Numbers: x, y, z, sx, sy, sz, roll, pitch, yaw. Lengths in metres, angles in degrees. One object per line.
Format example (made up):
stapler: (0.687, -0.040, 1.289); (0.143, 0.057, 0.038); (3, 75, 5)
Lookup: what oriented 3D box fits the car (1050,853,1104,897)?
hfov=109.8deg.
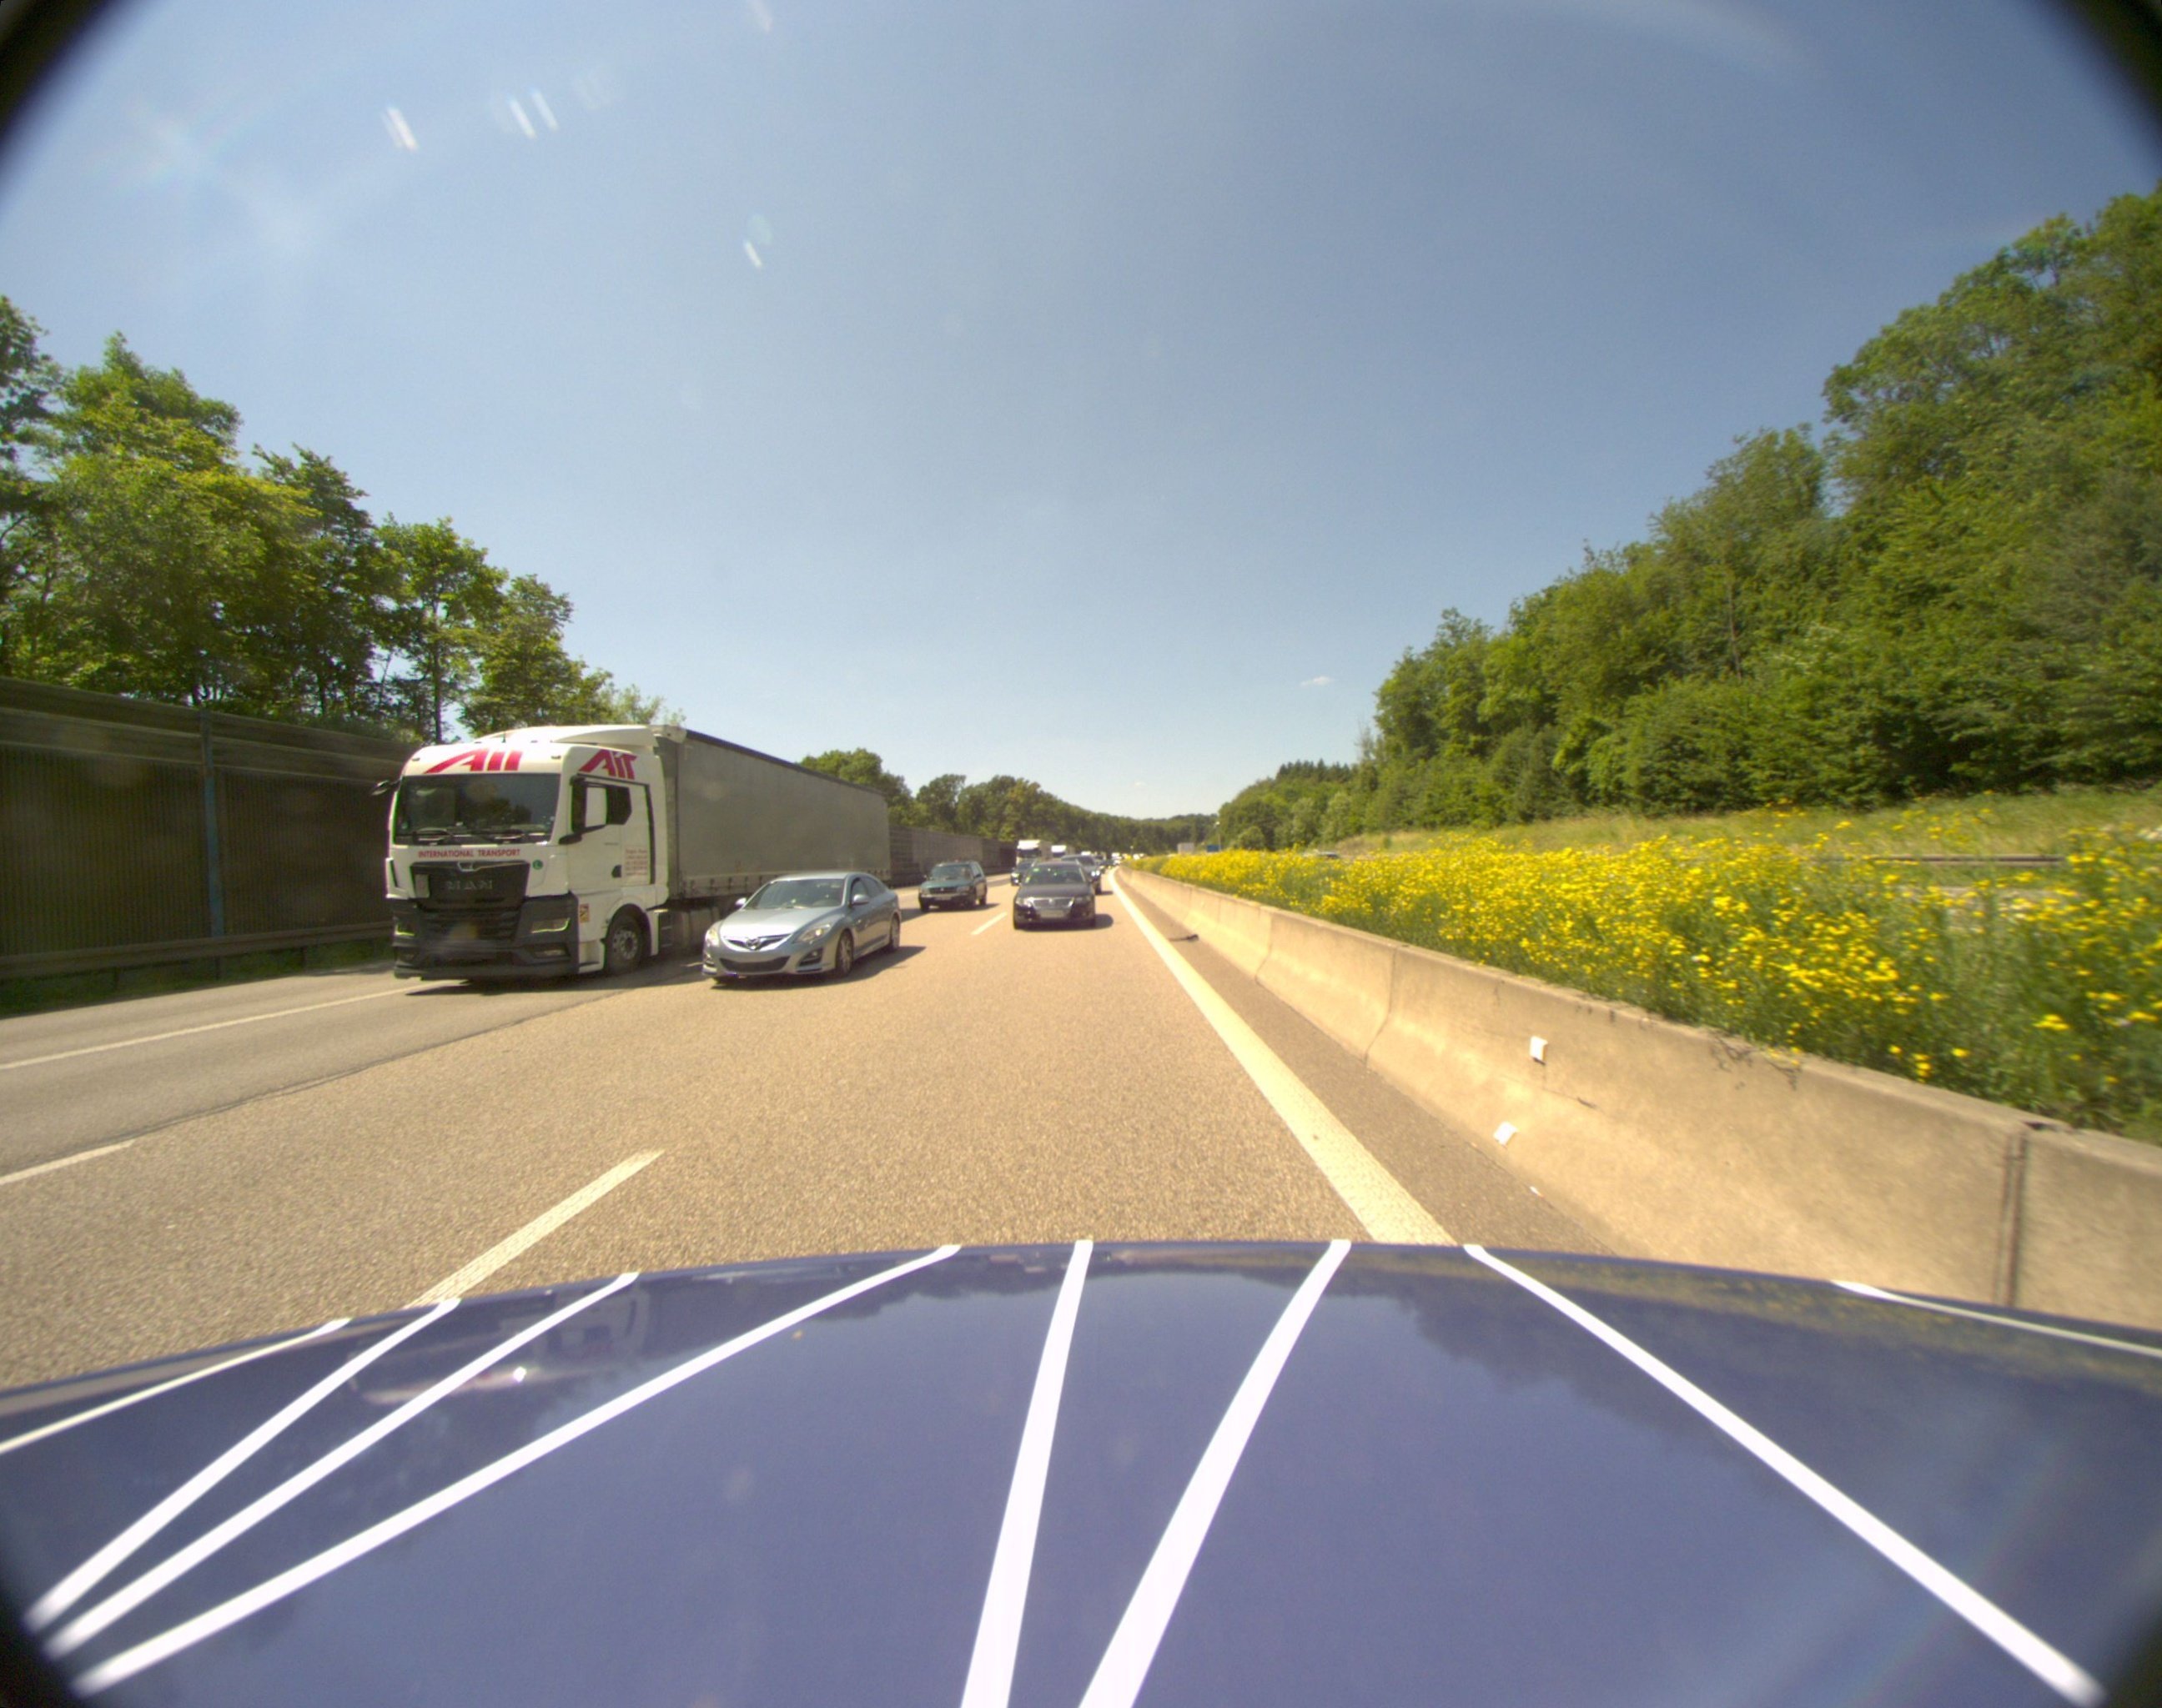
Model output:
car: (-0.094, 0.817, 31.296); (1.998, 1.641, 4.000); (-2, 0, 2)

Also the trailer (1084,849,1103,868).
trailer: (3.270, 1.152, 192.517); (2.852, 4.391, 13.036); (-3, 0, 8)

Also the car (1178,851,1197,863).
car: (14.675, 0.450, 104.870); (1.998, 1.563, 4.065); (-2, 0, 1)

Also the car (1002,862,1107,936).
car: (-0.477, 0.941, 17.534); (1.907, 1.410, 4.002); (-3, 0, 5)

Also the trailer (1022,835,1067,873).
trailer: (-4.326, 0.004, 93.809); (2.820, 4.190, 13.473); (-3, 0, 8)

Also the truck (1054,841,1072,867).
truck: (-2.985, -0.032, 127.403); (2.545, 4.149, 4.746); (-3, 0, 2)

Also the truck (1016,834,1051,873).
truck: (-5.342, -0.005, 86.518); (2.810, 4.190, 5.425); (-3, 0, 8)

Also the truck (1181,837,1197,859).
truck: (21.251, -1.114, 148.743); (2.834, 3.915, 13.754); (-2, 0, 9)

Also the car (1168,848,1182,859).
car: (15.974, -0.037, 129.935); (1.889, 1.745, 4.277); (-2, 0, 1)

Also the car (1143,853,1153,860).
car: (14.075, 0.504, 159.910); (1.942, 1.494, 4.660); (-2, 0, 5)

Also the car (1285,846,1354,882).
car: (10.920, 0.427, 35.129); (1.844, 1.513, 4.357); (-2, 0, 1)

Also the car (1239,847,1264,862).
car: (20.919, 0.050, 93.406); (1.998, 1.682, 4.767); (-2, 0, 1)

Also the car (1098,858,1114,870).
car: (3.835, 1.523, 116.263); (1.997, 1.641, 4.002); (-2, 0, 7)

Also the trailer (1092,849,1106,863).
trailer: (5.424, 0.655, 223.407); (3.154, 4.061, 6.187); (-3, 0, 9)

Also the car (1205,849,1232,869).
car: (12.932, 0.436, 71.525); (1.741, 1.723, 4.148); (-2, 0, 0)

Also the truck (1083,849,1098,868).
truck: (2.464, 1.118, 187.407); (2.852, 4.381, 5.243); (-3, 0, 8)

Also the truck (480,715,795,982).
truck: (-7.938, -0.087, 14.606); (2.605, 4.066, 5.552); (-2, 0, 0)

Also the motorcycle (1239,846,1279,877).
motorcycle: (7.323, 0.300, 31.428); (1.043, 1.208, 2.613); (-2, 0, 1)

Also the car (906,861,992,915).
car: (-4.218, 1.045, 24.933); (1.907, 1.550, 4.001); (-3, 0, 2)

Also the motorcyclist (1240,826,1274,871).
motorcyclist: (7.289, -0.232, 31.519); (1.034, 1.775, 1.284); (-2, 0, 1)

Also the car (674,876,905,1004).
car: (-4.083, 1.119, 11.473); (1.861, 1.426, 4.176); (-3, 0, -1)

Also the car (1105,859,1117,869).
car: (5.733, 1.892, 145.124); (1.997, 1.641, 4.002); (-2, 0, 7)

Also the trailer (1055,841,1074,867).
trailer: (-2.826, 0.006, 132.206); (2.542, 4.149, 10.178); (-3, 0, 2)

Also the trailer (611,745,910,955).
trailer: (-7.880, -0.093, 21.864); (2.605, 4.066, 13.591); (-2, 0, 0)

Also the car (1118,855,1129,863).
car: (9.306, 1.192, 166.777); (1.997, 1.641, 4.002); (-2, 0, 7)

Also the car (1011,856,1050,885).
car: (-3.169, 1.007, 48.177); (1.998, 1.641, 4.001); (-2, 0, 2)
